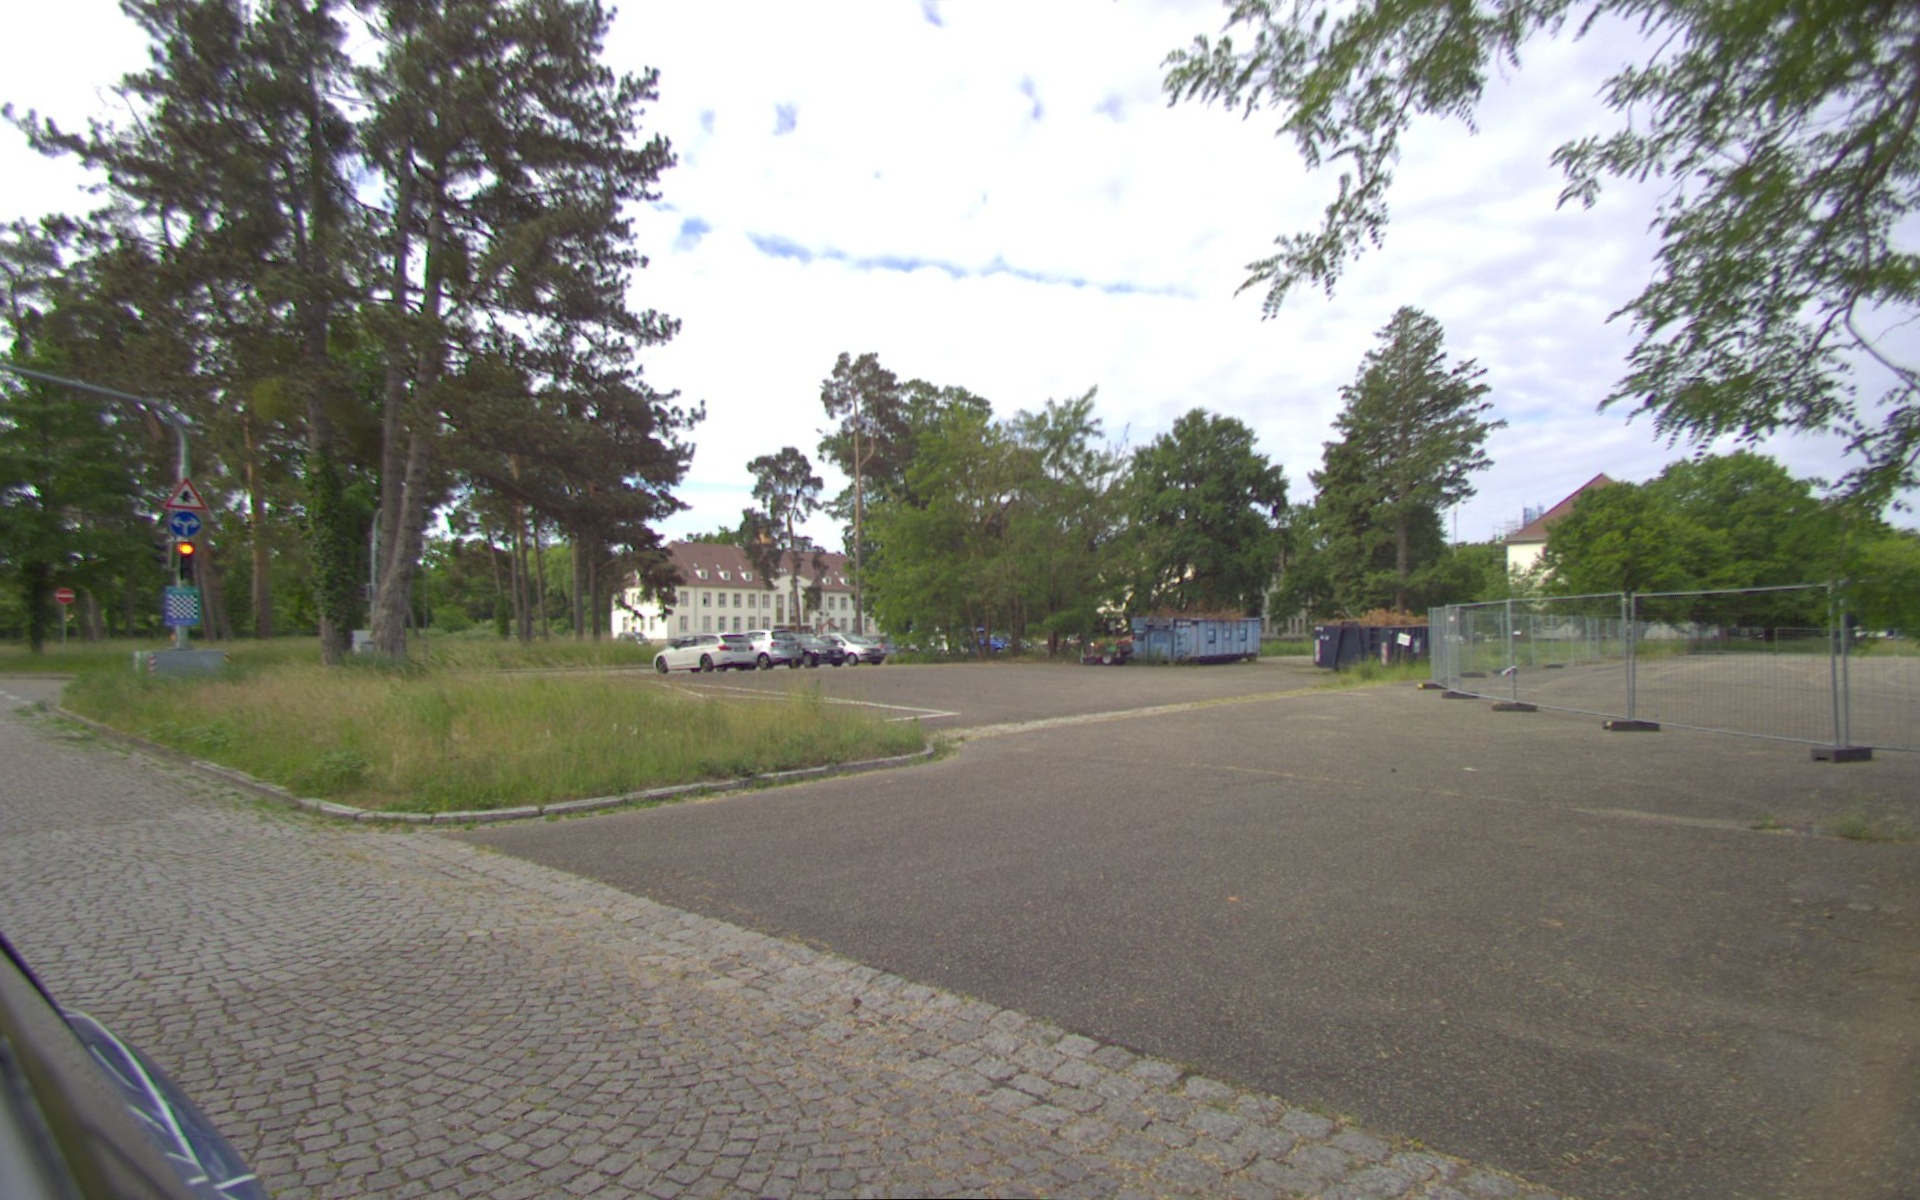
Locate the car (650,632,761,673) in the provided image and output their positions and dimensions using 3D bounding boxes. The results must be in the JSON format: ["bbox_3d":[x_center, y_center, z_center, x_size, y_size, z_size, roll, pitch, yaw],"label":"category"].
[{"bbox_3d":[-9.580,1.937,37.949,4.315,1.436,1.807,-2,-3,39],"label":"car"}]

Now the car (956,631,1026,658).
[{"bbox_3d":[2.069,2.973,68.169,4.580,1.736,1.805,-2,-3,41],"label":"car"}]

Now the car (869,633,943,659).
[{"bbox_3d":[-3.310,2.824,62.121,4.394,1.486,1.808,-2,0,37],"label":"car"}]

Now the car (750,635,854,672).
[{"bbox_3d":[-6.604,2.195,42.105,4.397,1.486,1.807,-2,-3,39],"label":"car"}]

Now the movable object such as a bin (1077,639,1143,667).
[{"bbox_3d":[5.448,1.922,36.767,1.953,0.976,1.431,-2,-2,34],"label":"movable object such as a bin"}]

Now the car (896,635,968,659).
[{"bbox_3d":[-1.814,2.965,64.653,4.394,1.486,1.808,-2,-3,37],"label":"car"}]

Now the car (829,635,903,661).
[{"bbox_3d":[-5.644,2.866,60.354,4.397,1.486,1.807,-2,-3,39],"label":"car"}]

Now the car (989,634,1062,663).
[{"bbox_3d":[3.461,2.549,53.836,3.588,1.486,1.658,-2,-3,39],"label":"car"}]

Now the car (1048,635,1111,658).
[{"bbox_3d":[9.095,3.537,77.477,4.580,1.736,1.805,-2,-3,41],"label":"car"}]

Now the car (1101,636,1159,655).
[{"bbox_3d":[13.918,3.723,83.070,4.400,1.486,1.805,-2,-3,41],"label":"car"}]

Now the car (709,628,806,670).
[{"bbox_3d":[-8.002,1.933,39.859,3.894,1.532,1.653,-4,-4,39],"label":"car"}]

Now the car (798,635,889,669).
[{"bbox_3d":[-5.167,2.265,44.515,4.033,1.410,1.616,-2,-3,39],"label":"car"}]
